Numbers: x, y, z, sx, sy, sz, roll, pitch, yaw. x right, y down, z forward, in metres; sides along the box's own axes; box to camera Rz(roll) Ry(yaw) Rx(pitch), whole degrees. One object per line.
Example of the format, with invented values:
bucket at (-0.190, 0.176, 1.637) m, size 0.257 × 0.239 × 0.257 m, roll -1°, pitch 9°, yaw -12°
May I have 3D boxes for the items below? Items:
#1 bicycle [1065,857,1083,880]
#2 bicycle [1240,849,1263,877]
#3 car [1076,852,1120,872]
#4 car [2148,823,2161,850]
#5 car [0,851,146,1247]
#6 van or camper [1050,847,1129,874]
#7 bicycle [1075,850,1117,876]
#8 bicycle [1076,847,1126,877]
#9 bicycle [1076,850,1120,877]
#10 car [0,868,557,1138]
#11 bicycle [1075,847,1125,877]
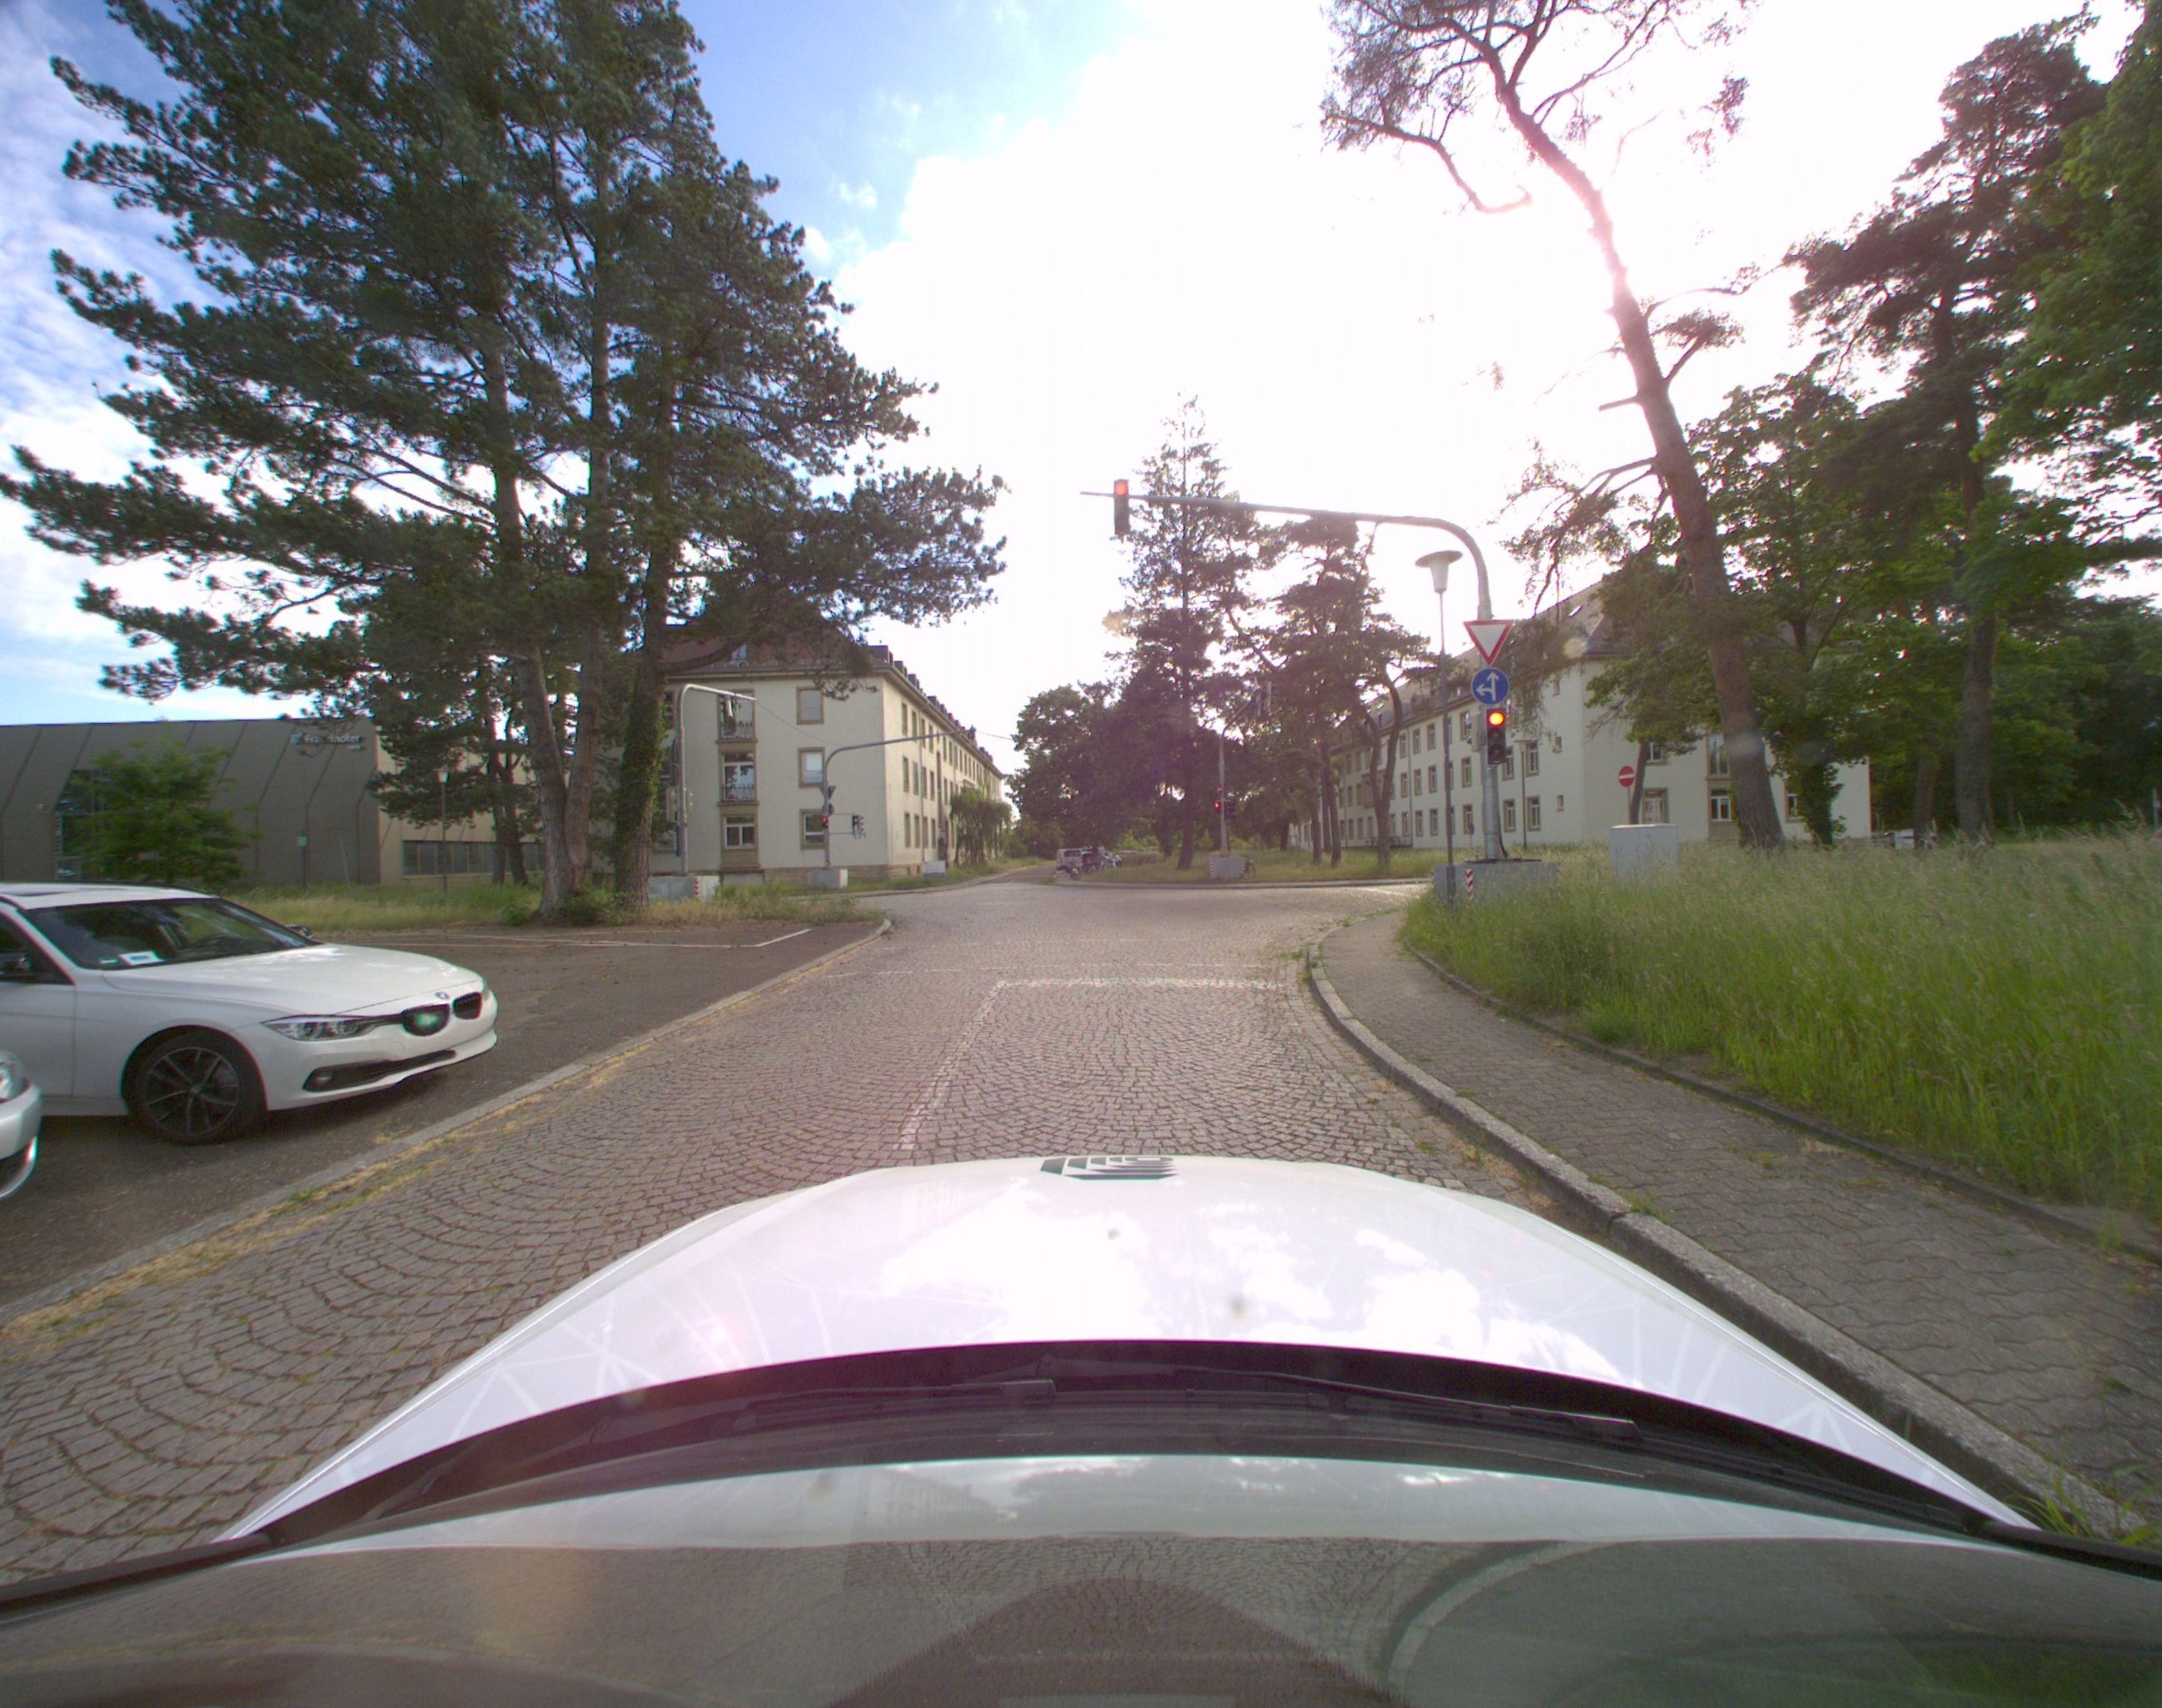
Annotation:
bicycle at (-0.350, 0.740, 43.164) m, size 0.723 × 1.107 × 2.463 m, roll -6°, pitch 0°, yaw 1°
bicycle at (7.453, 0.393, 35.721) m, size 0.720 × 1.169 × 2.742 m, roll 0°, pitch 0°, yaw 6°
car at (1.272, 0.588, 61.851) m, size 3.134 × 1.354 × 1.617 m, roll -2°, pitch 0°, yaw -6°
car at (57.198, -0.879, 41.395) m, size 3.974 × 1.398 × 1.563 m, roll 1°, pitch 0°, yaw 0°
car at (-6.288, 0.780, 2.855) m, size 3.822 × 1.607 × 1.734 m, roll 1°, pitch 0°, yaw -3°
van or camper at (0.649, 0.485, 65.422) m, size 6.040 × 1.948 × 1.991 m, roll -2°, pitch 0°, yaw -14°
bicycle at (0.999, 0.572, 53.554) m, size 2.766 × 1.694 × 1.120 m, roll 1°, pitch 0°, yaw 1°
bicycle at (1.147, 0.461, 47.458) m, size 2.772 × 1.694 × 1.118 m, roll -2°, pitch 0°, yaw -6°
bicycle at (1.080, 0.585, 52.217) m, size 2.763 × 1.694 × 1.121 m, roll 1°, pitch 0°, yaw 3°
car at (-6.374, 0.855, 5.424) m, size 4.468 × 1.442 × 1.828 m, roll 1°, pitch 0°, yaw -4°
bicycle at (1.125, 0.488, 48.652) m, size 2.773 × 1.694 × 1.117 m, roll -2°, pitch 0°, yaw -8°
